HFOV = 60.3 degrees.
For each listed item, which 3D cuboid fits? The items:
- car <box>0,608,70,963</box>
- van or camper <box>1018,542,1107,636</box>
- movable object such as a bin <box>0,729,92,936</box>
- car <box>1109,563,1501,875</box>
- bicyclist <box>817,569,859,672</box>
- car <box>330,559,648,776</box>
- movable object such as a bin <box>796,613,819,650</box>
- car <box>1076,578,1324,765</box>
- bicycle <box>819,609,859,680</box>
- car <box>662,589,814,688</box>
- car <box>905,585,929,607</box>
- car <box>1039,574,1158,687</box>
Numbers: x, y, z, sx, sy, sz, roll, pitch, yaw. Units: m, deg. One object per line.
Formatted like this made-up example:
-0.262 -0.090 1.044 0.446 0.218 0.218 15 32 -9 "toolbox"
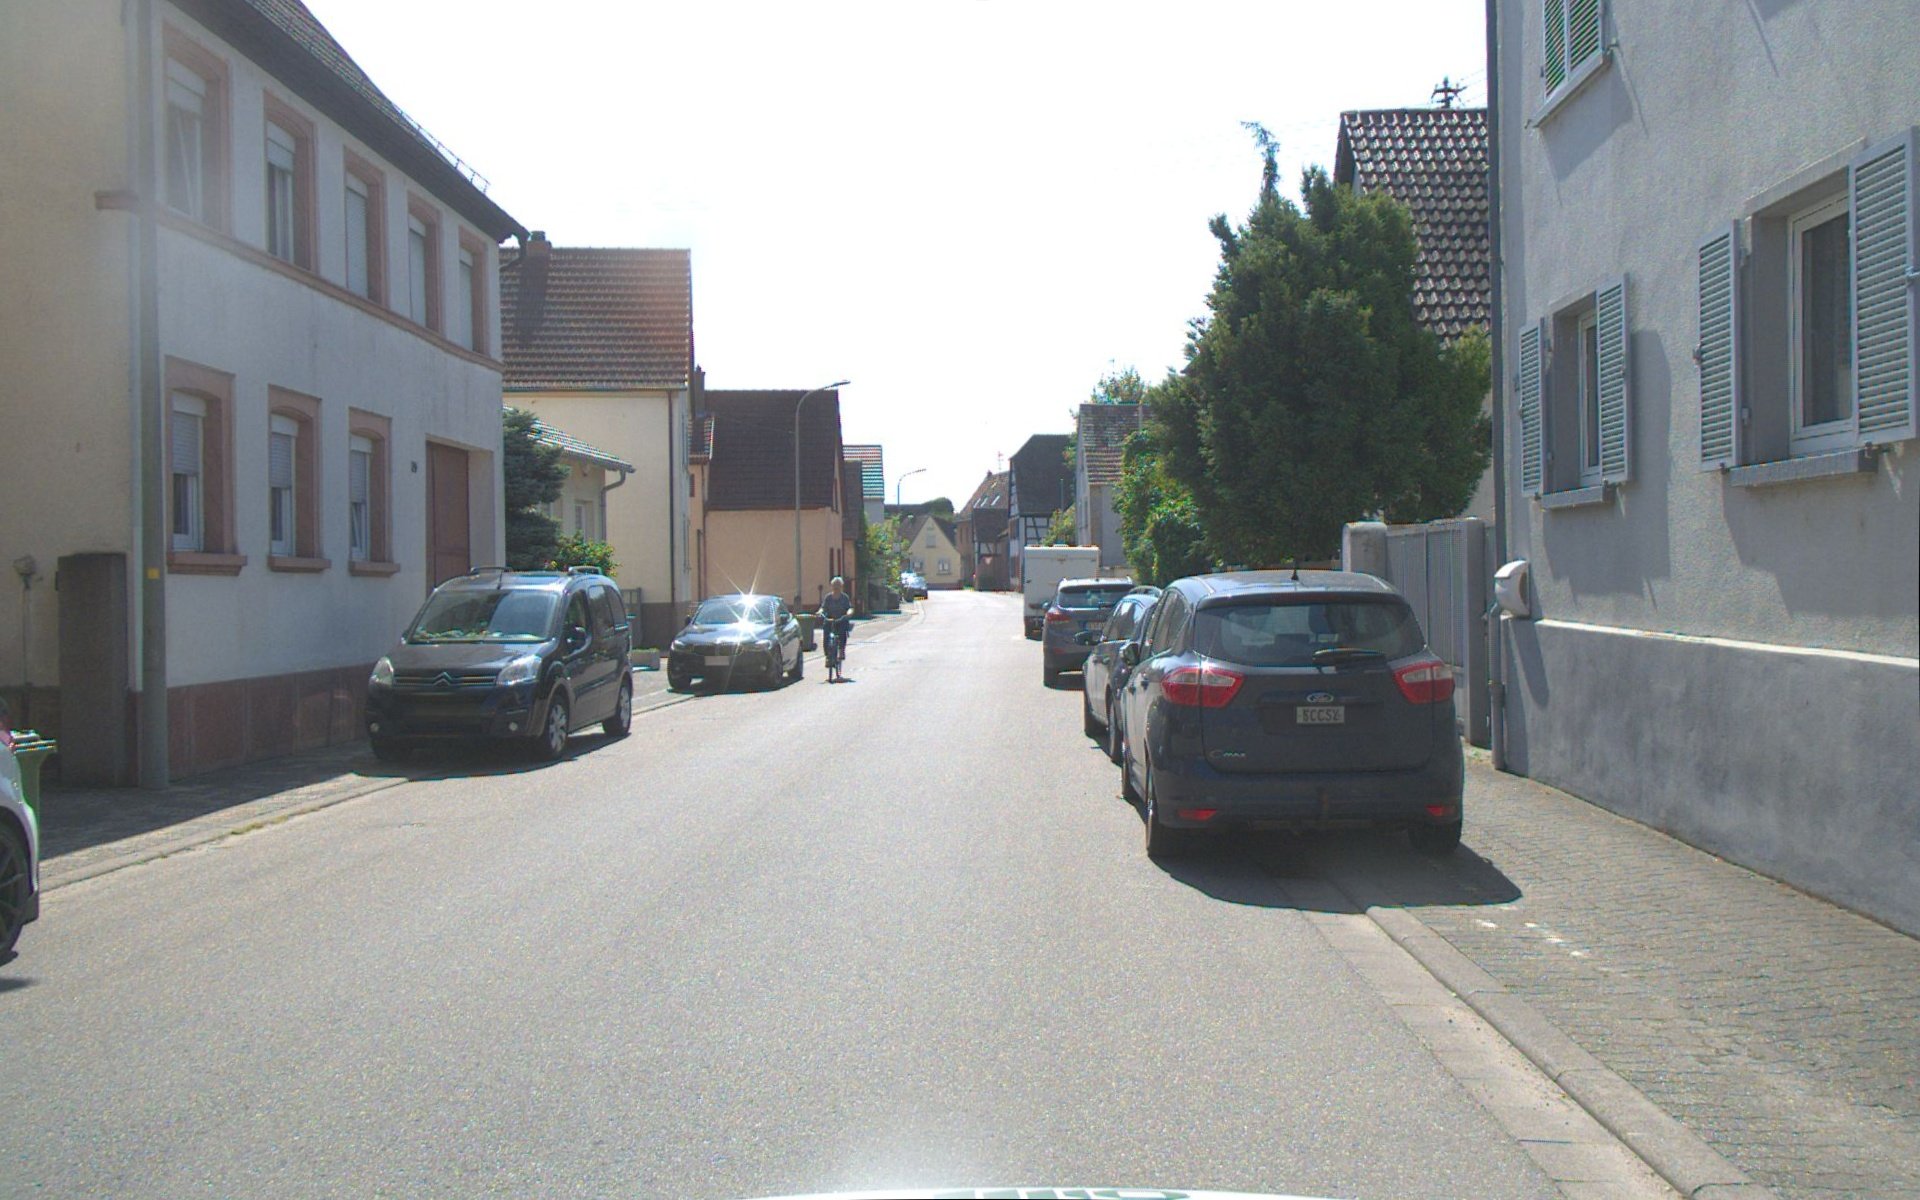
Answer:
-4.927 0.828 5.386 1.797 1.489 4.269 -2 0 -2 "car"
3.113 -0.344 51.287 2.470 2.744 4.556 -1 0 1 "van or camper"
-4.588 1.111 8.038 0.416 0.920 0.496 -1 0 20 "movable object such as a bin"
1.996 0.600 10.903 1.760 1.587 4.633 -1 0 2 "car"
-2.173 0.357 29.415 0.689 1.802 0.624 -1 0 -2 "bicyclist"
-4.597 0.576 16.867 1.796 1.869 4.355 -2 0 2 "car"
-4.031 0.827 43.755 0.528 0.966 0.553 0 0 1 "movable object such as a bin"
2.180 0.583 16.222 1.782 1.535 4.582 -1 0 0 "car"
-2.128 0.771 29.316 0.577 1.168 1.948 -2 0 -2 "bicycle"
-3.756 0.601 28.764 1.806 1.553 4.767 -1 0 2 "car"
-2.951 -0.302 114.270 1.480 1.461 3.512 -2 1 1 "car"
2.290 0.432 27.313 1.756 1.659 4.364 -1 1 5 "car"
